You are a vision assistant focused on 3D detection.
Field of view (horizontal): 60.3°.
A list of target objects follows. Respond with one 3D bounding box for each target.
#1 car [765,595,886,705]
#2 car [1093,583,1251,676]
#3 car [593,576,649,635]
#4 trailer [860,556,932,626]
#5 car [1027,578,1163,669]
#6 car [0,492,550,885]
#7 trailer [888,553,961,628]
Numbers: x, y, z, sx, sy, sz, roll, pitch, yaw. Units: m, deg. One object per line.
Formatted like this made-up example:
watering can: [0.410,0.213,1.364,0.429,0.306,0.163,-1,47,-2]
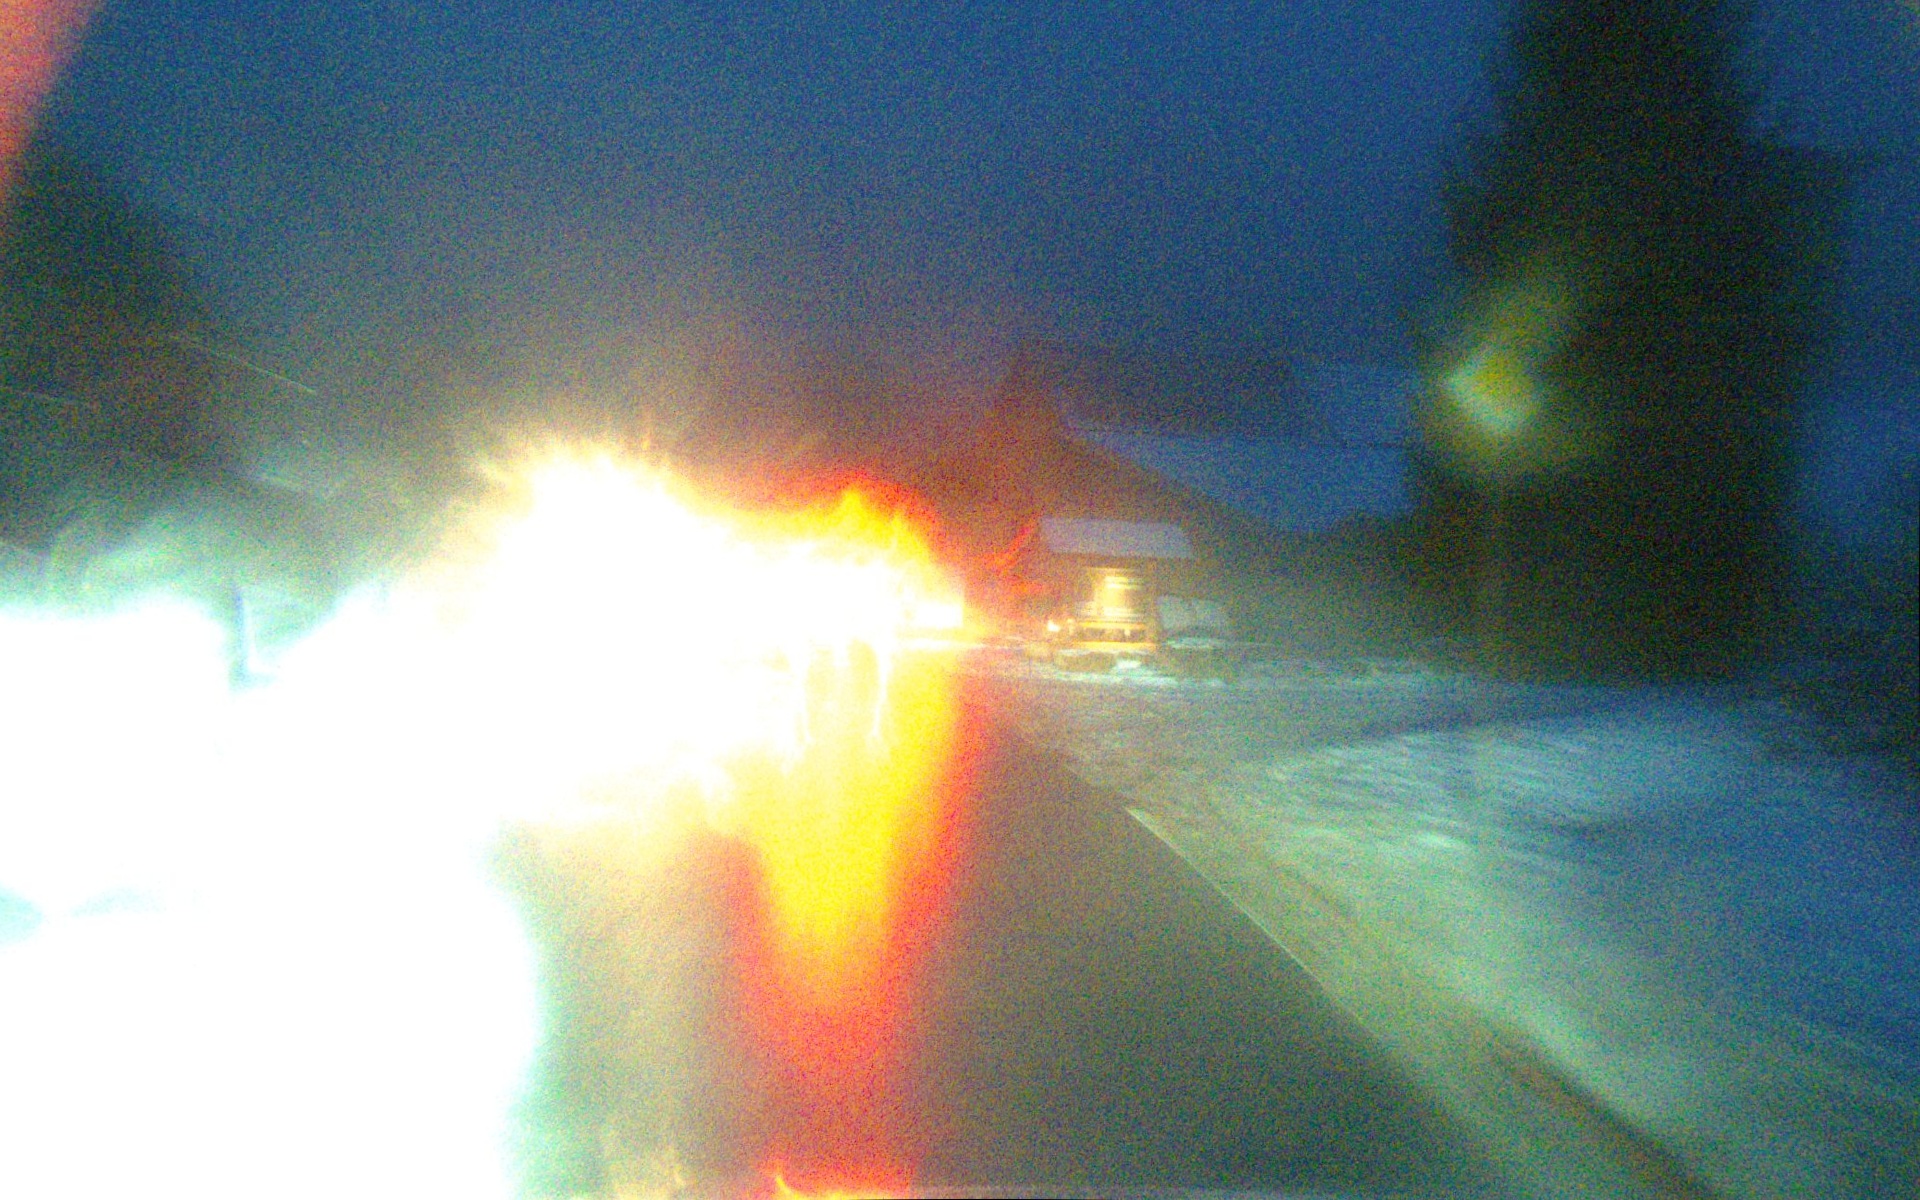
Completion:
car: [-2.334,0.795,27.953,1.768,1.657,3.608,2,0,-8]
car: [4.547,0.596,36.155,1.848,1.841,4.136,2,0,-17]
car: [-12.988,0.188,63.186,1.885,2.093,4.872,2,0,-13]
trailer: [-2.456,-0.356,62.179,1.603,2.405,4.635,4,0,-15]
car: [3.277,0.551,41.073,1.848,2.075,4.370,2,0,-17]
car: [-3.804,0.432,9.923,1.938,1.809,3.996,2,0,-5]
trailer: [-1.280,-0.348,57.467,1.578,2.393,4.417,4,0,-13]
